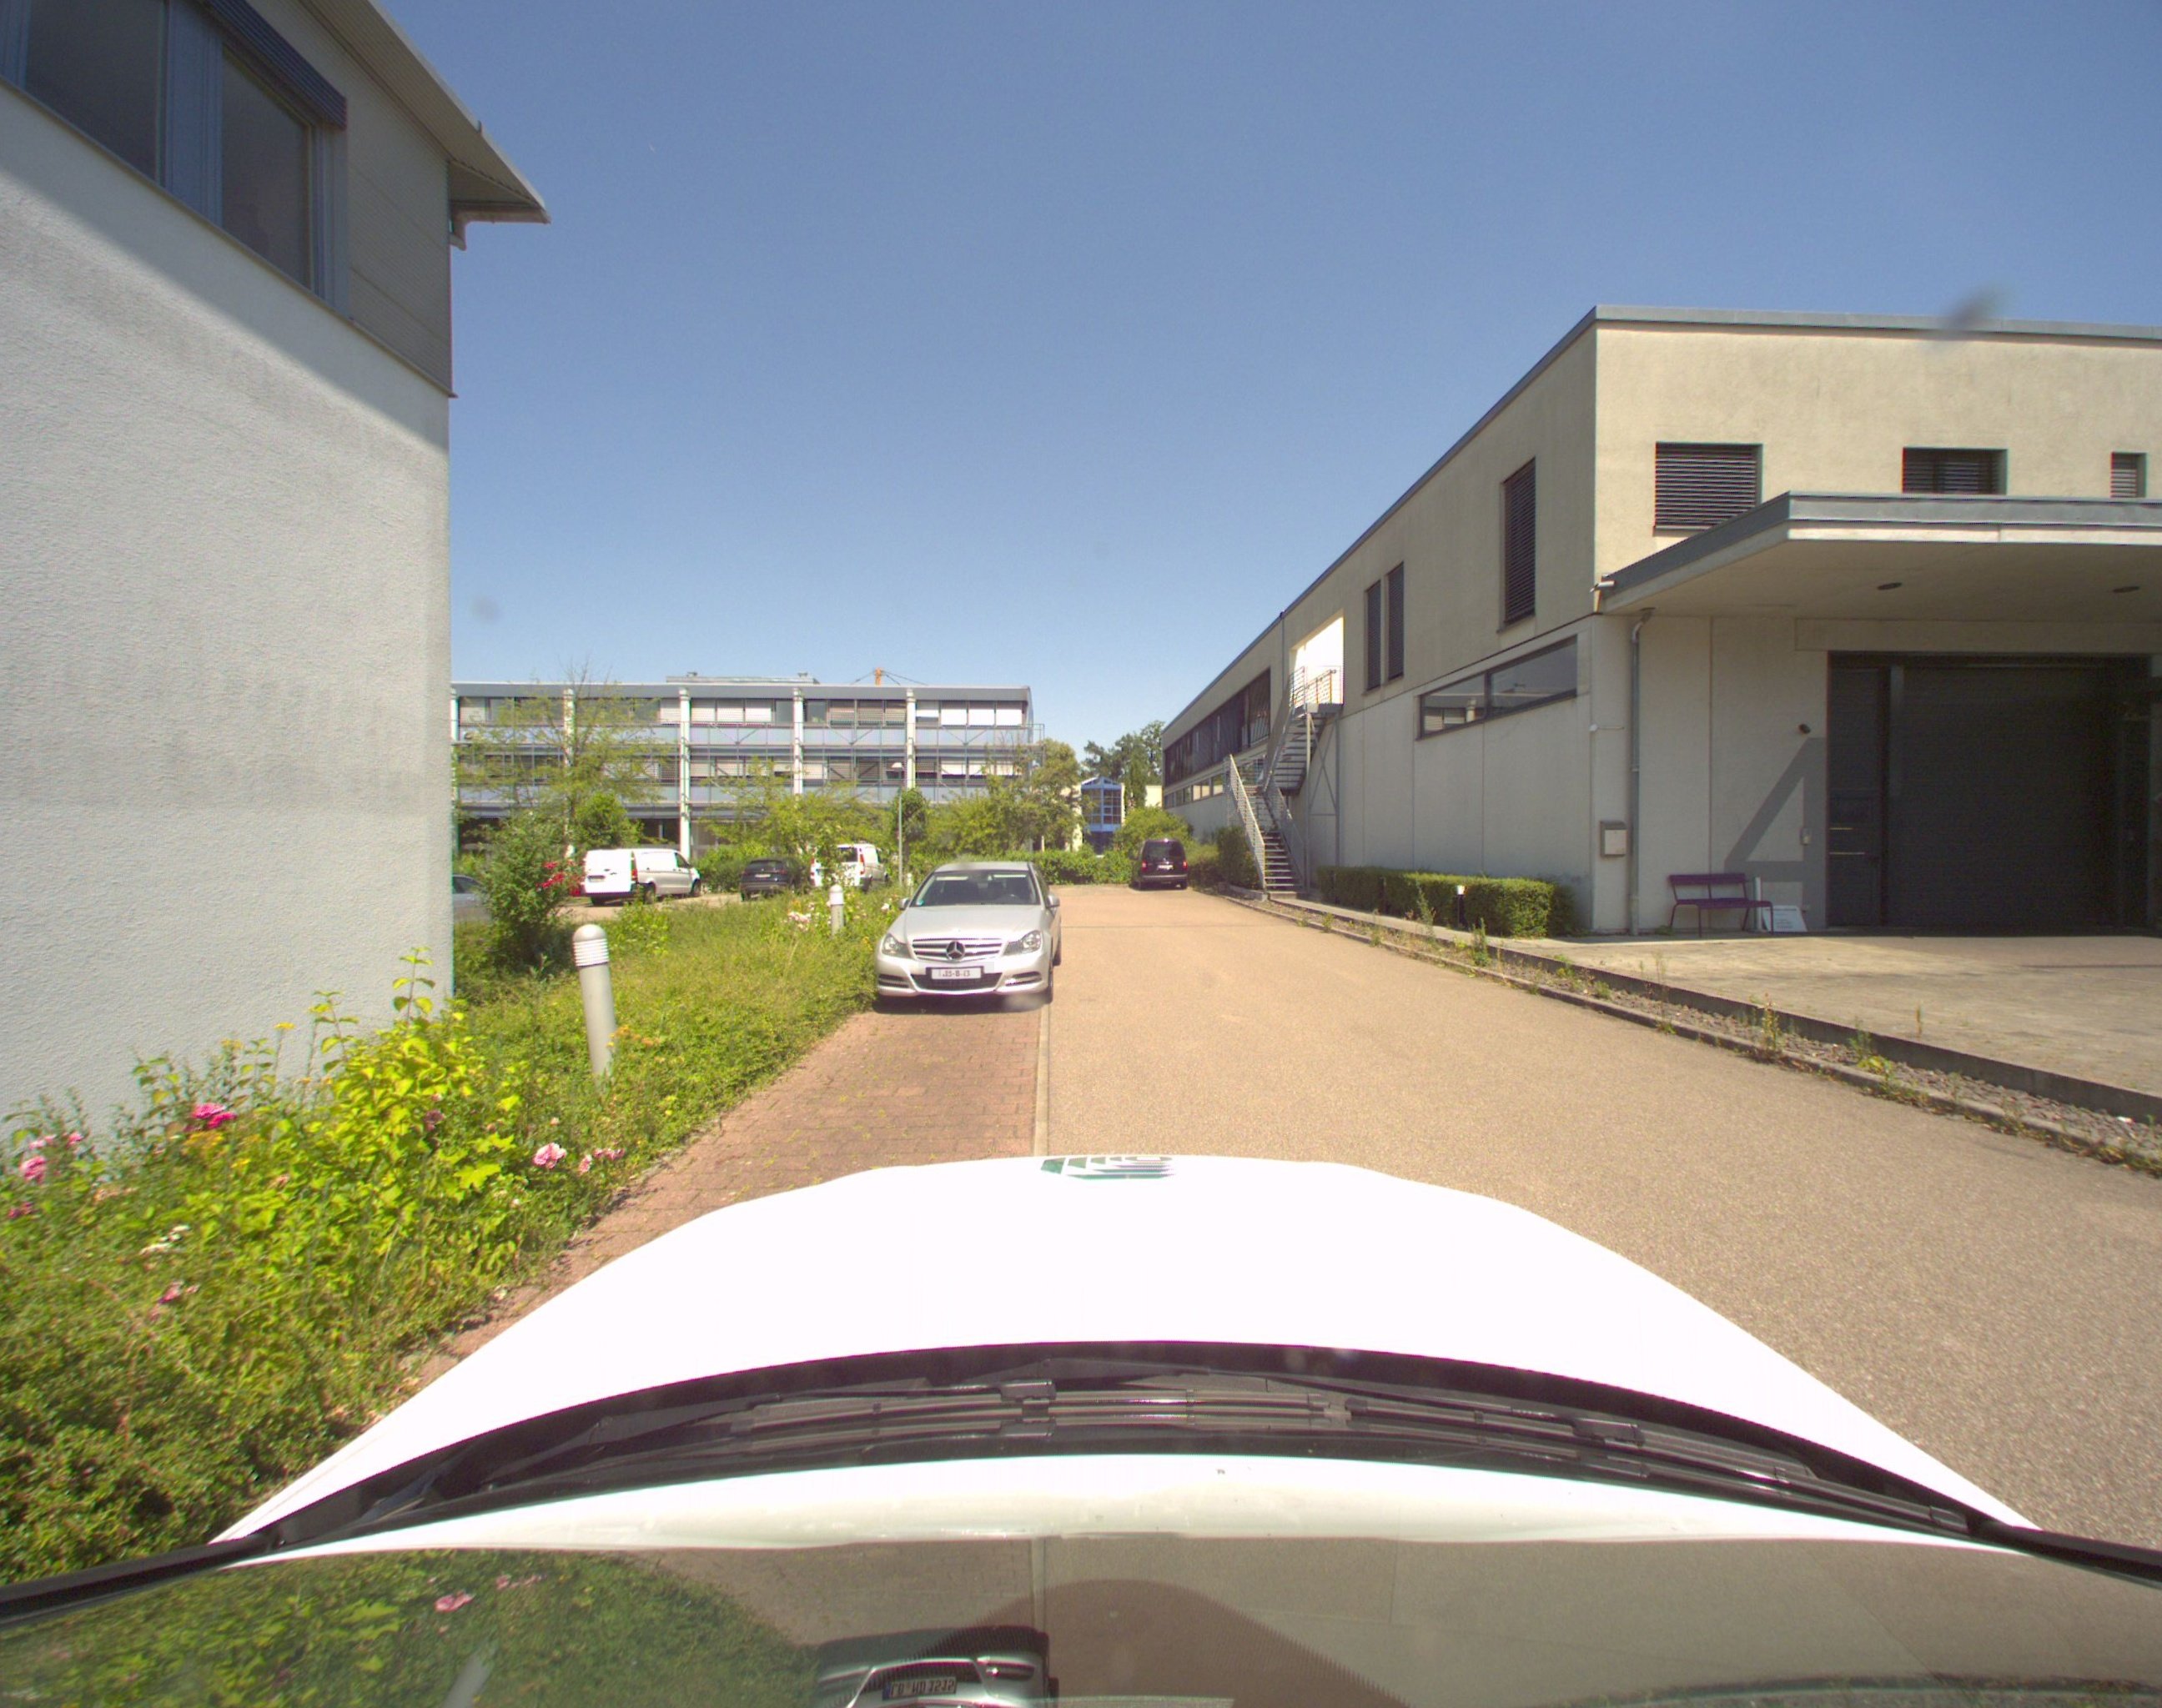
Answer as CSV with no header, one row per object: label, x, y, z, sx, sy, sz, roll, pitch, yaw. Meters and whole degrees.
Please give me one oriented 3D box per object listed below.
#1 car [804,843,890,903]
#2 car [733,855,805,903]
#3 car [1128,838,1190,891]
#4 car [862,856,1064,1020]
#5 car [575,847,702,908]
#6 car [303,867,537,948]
car,-8.232,0.582,29.108,1.909,1.905,4.801,-2,1,-4
car,-11.121,0.835,29.267,1.756,1.476,3.984,-2,1,-12
car,2.852,0.344,30.618,1.739,1.837,3.996,-1,1,-3
car,-1.134,0.782,9.621,1.723,1.457,4.147,-1,0,0
car,-15.418,0.732,28.733,1.876,1.891,4.801,-1,1,-1
car,-14.873,1.127,18.728,1.853,1.472,4.479,-1,1,-3
